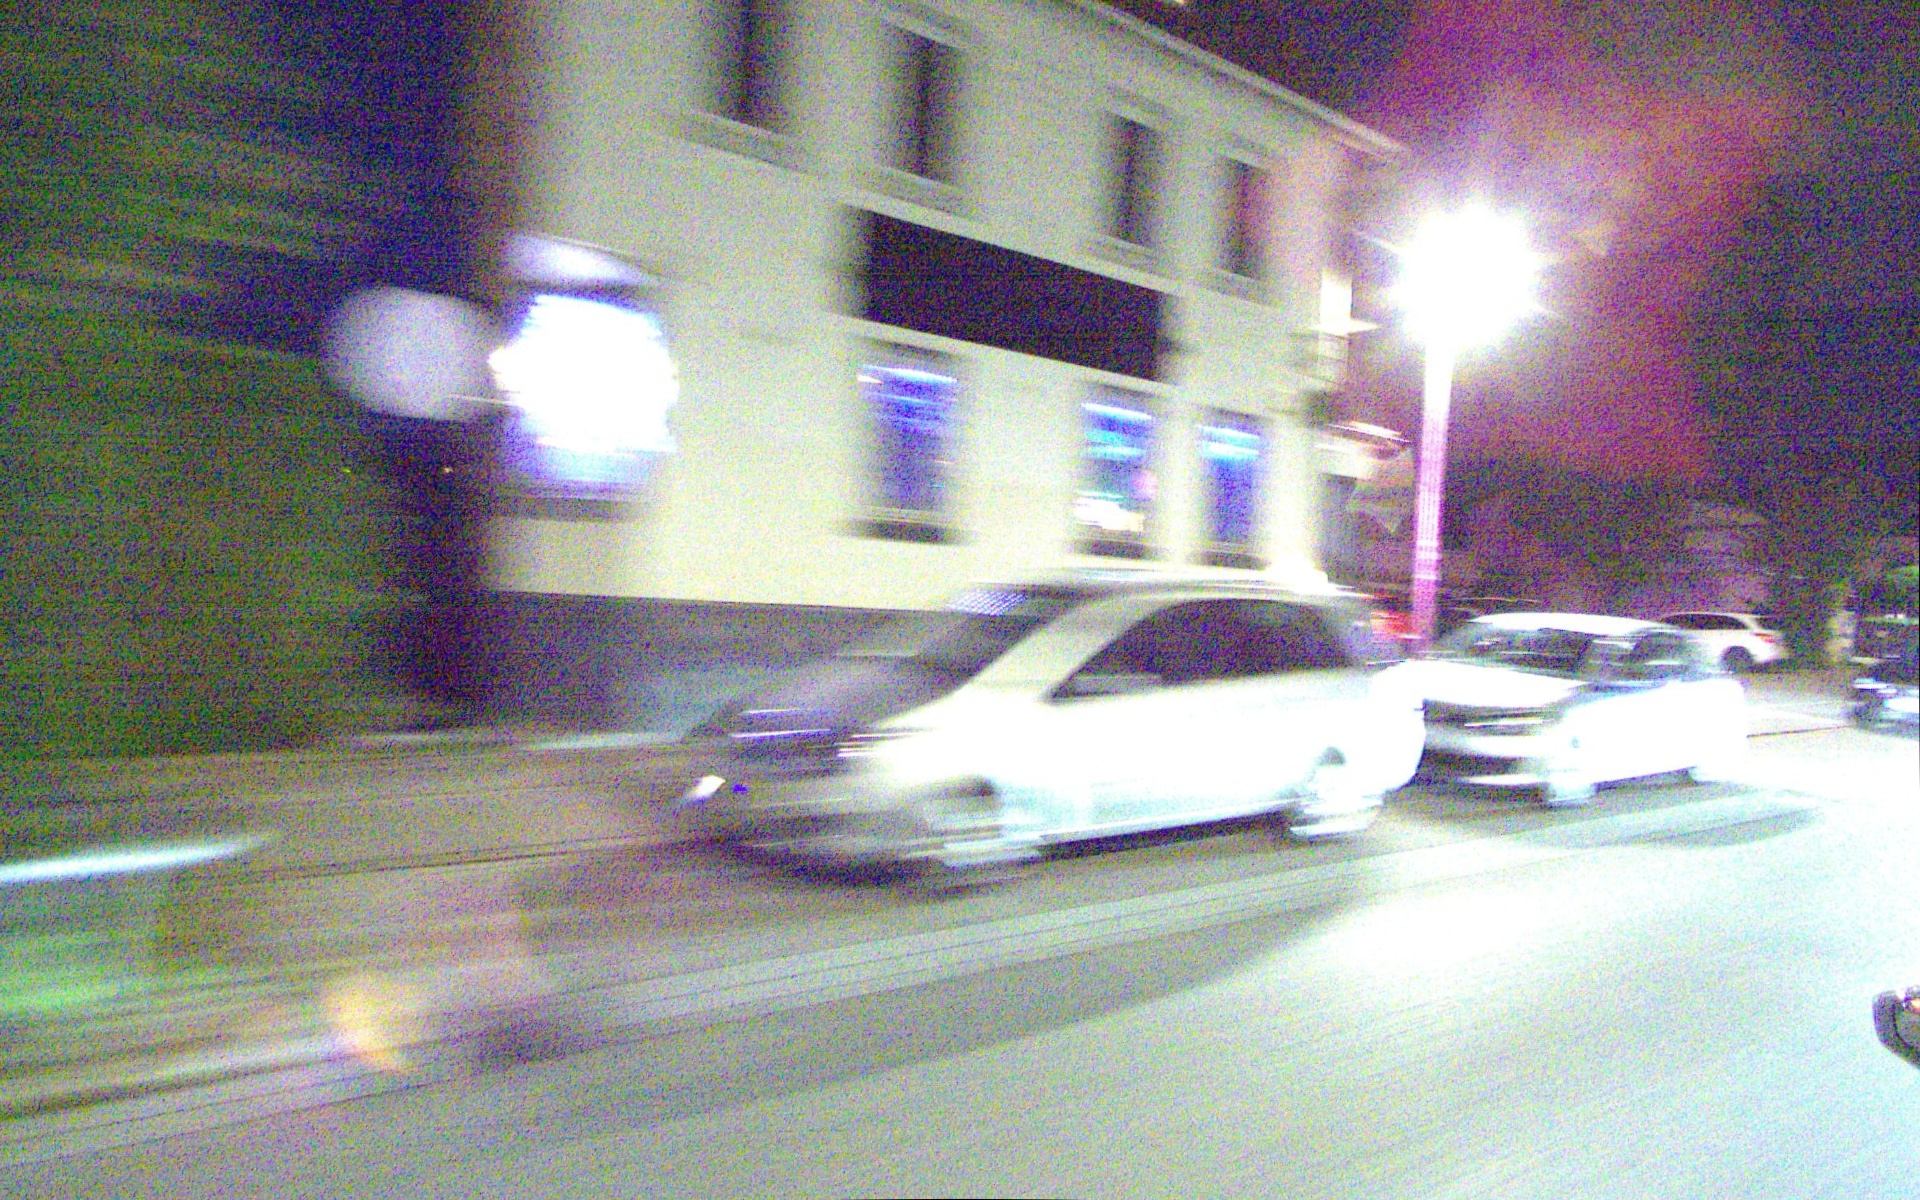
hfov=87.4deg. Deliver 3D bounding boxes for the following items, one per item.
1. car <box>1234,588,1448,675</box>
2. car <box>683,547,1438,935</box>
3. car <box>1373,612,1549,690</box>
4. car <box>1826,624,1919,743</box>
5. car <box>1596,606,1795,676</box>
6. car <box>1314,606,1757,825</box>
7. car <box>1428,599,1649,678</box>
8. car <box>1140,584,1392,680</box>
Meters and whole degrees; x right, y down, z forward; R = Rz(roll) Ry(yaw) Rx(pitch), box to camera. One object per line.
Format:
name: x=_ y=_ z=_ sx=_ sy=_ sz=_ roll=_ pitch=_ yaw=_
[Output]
car: x=8.028 y=0.608 z=21.517 sx=1.975 sy=1.639 sz=3.971 roll=2 pitch=0 yaw=-27
car: x=0.759 y=0.613 z=6.272 sx=4.421 sy=1.658 sz=1.917 roll=2 pitch=2 yaw=-32
car: x=10.611 y=1.149 z=21.654 sx=1.960 sy=1.483 sz=4.004 roll=-1 pitch=-4 yaw=4
car: x=14.020 y=1.146 z=14.078 sx=3.965 sy=1.488 sz=1.739 roll=2 pitch=1 yaw=-32
car: x=19.655 y=1.074 z=26.971 sx=1.931 sy=1.725 sz=3.957 roll=2 pitch=-2 yaw=-37
car: x=5.186 y=0.871 z=8.939 sx=3.923 sy=1.488 sz=1.761 roll=2 pitch=1 yaw=-32
car: x=13.488 y=0.870 z=23.648 sx=1.976 sy=1.684 sz=4.097 roll=2 pitch=-1 yaw=-29
car: x=5.796 y=0.550 z=19.446 sx=2.011 sy=1.582 sz=4.279 roll=2 pitch=1 yaw=-37
